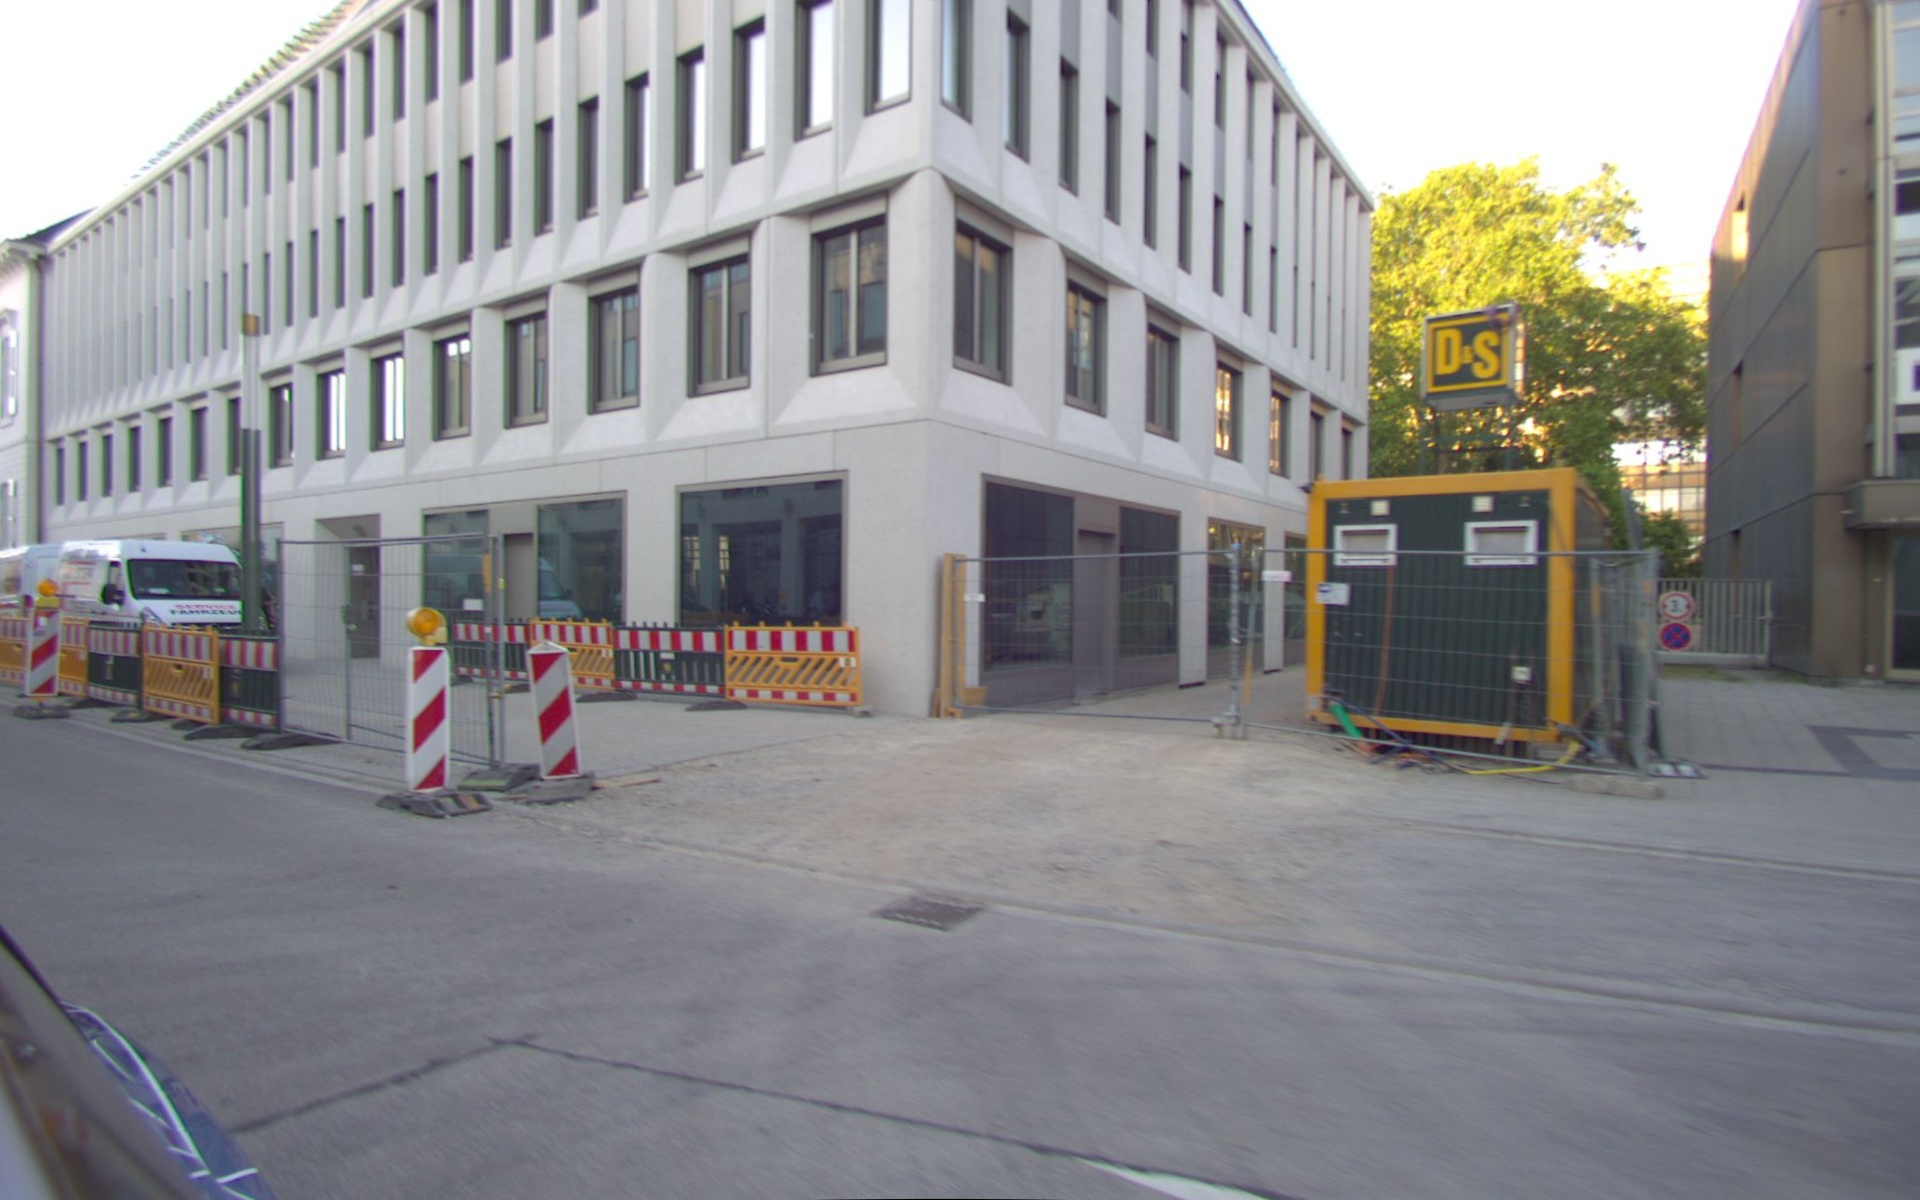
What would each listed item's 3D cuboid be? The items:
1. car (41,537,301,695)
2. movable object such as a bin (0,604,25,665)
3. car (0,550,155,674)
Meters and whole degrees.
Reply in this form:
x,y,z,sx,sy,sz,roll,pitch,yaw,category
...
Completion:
x,y,z,sx,sy,sz,roll,pitch,yaw,category
-14.641,0.255,18.638,5.986,2.489,2.154,0,-1,36,car
-24.212,0.846,25.090,1.385,1.477,1.038,0,0,24,movable object such as a bin
-20.661,0.241,23.007,5.987,2.489,2.154,0,-1,36,car
